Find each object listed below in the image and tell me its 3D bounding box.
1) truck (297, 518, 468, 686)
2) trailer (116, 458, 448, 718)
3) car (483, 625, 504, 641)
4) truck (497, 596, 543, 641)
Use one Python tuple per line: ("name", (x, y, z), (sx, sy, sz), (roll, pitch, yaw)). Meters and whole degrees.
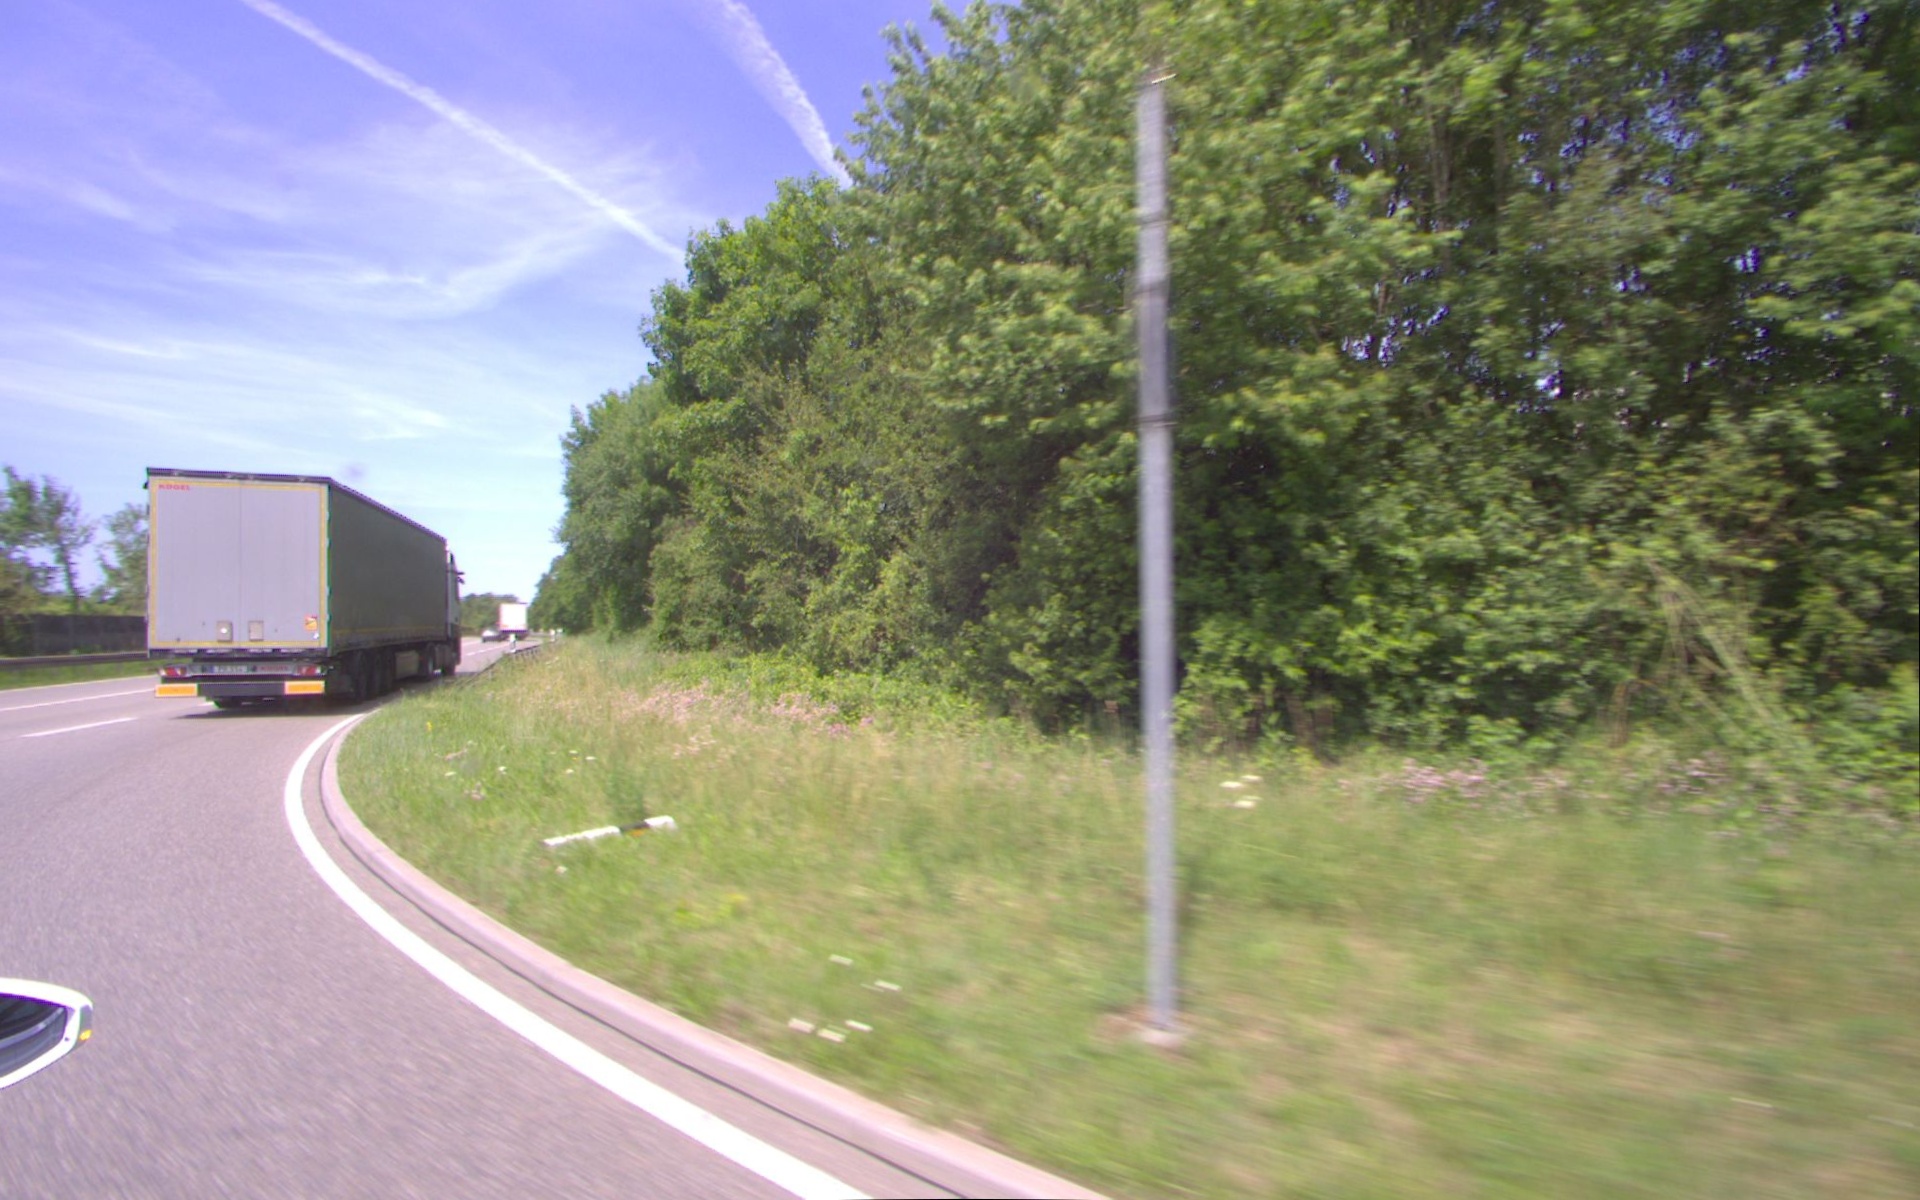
("truck", (-16.596, 0.189, 29.341), (3.109, 4.278, 7.107), (0, -2, -20))
("trailer", (-14.099, 0.041, 22.496), (2.985, 4.086, 13.322), (0, -2, -20))
("car", (-44.947, 3.165, 96.534), (1.644, 1.505, 3.989), (1, -2, -22))
("truck", (-49.745, 2.191, 113.648), (3.776, 4.805, 16.166), (1, -2, -20))
